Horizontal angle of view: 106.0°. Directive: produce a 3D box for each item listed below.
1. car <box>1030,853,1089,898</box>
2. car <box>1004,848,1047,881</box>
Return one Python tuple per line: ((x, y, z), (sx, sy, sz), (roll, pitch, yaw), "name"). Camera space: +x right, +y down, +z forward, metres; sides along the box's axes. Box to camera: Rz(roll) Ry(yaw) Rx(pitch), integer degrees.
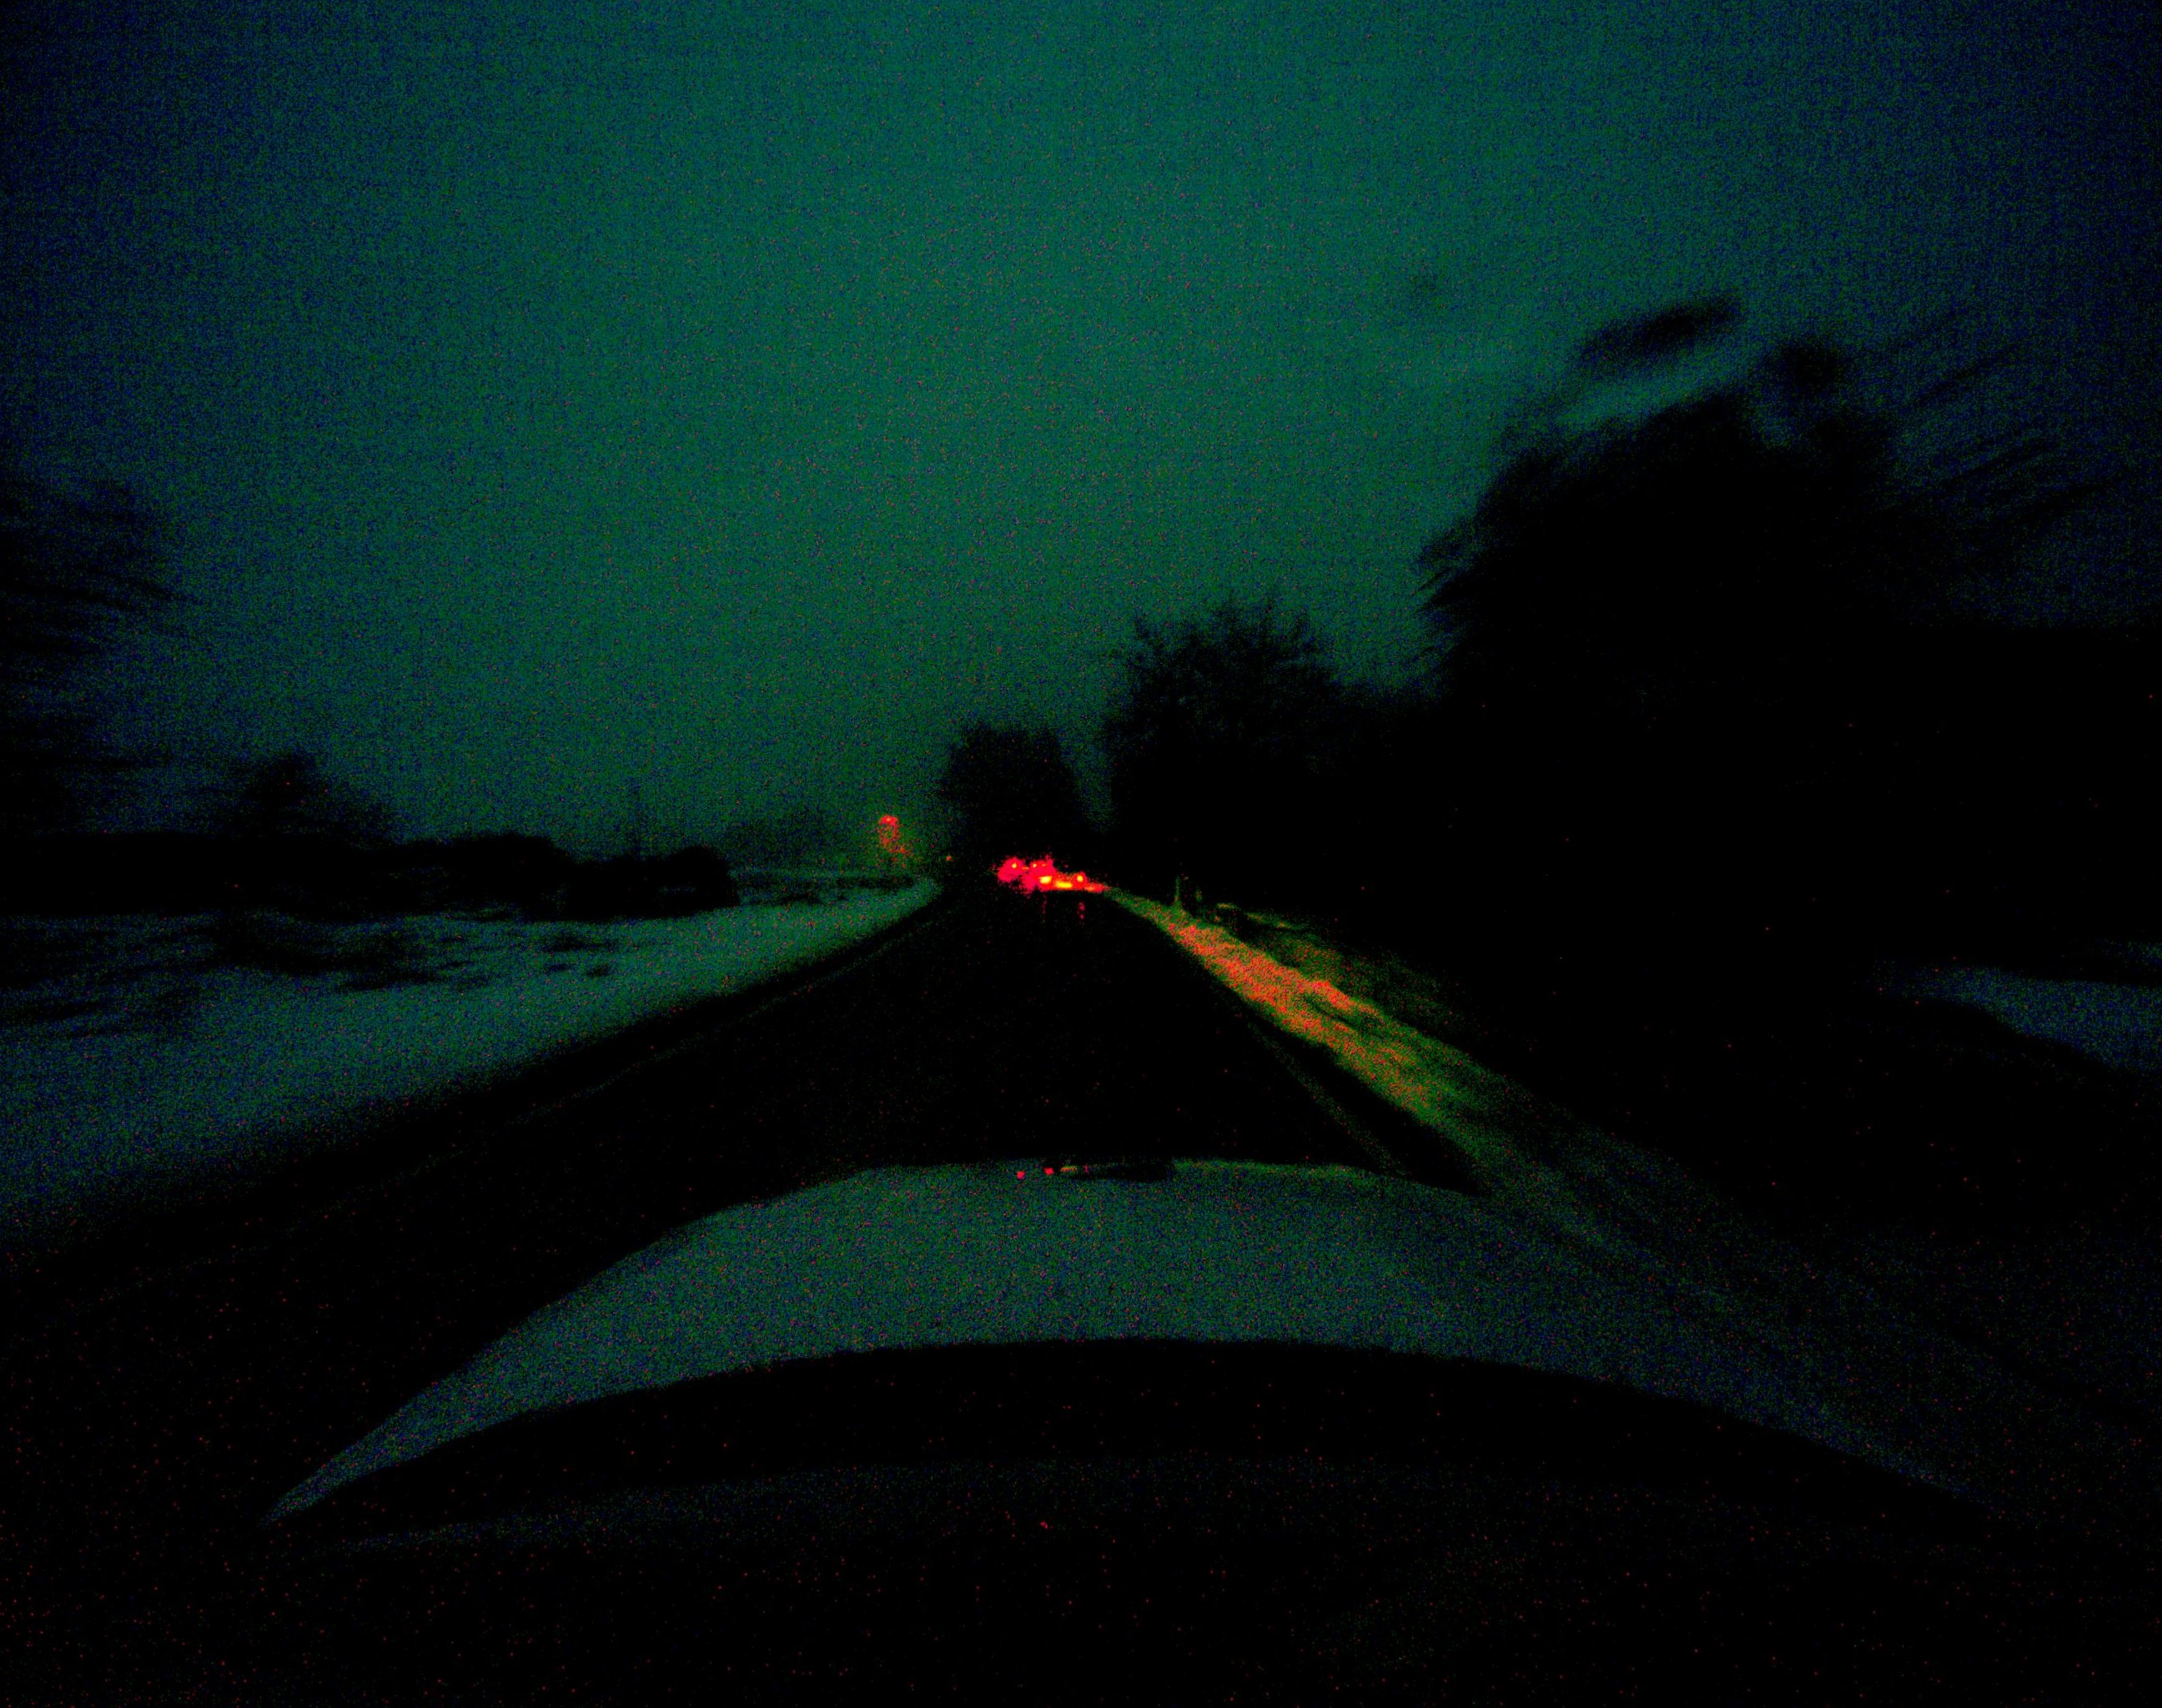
((-0.728, 0.755, 29.588), (1.987, 1.508, 3.999), (-1, -1, 0), "car")
((-3.148, 0.578, 45.428), (1.994, 1.750, 3.986), (0, -1, -10), "car")
